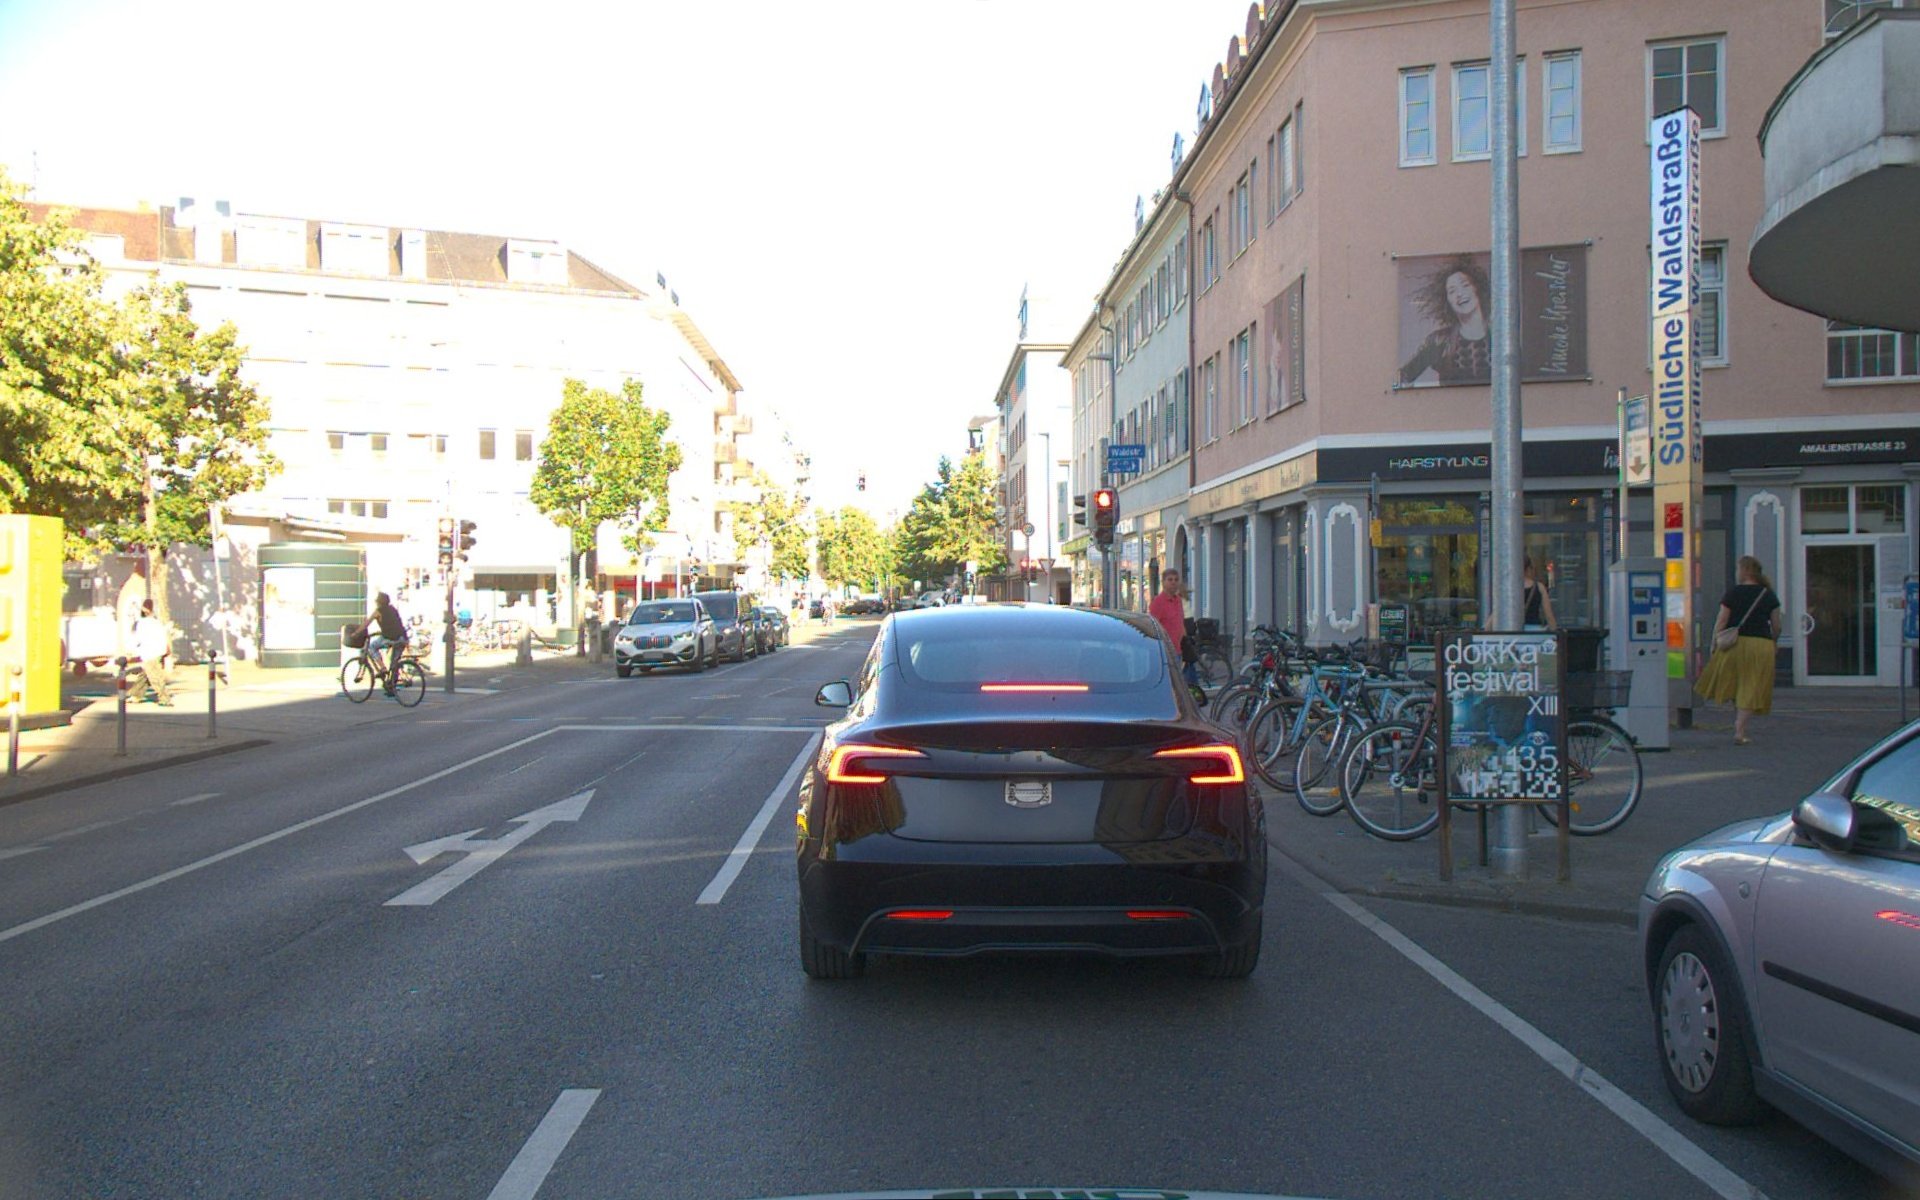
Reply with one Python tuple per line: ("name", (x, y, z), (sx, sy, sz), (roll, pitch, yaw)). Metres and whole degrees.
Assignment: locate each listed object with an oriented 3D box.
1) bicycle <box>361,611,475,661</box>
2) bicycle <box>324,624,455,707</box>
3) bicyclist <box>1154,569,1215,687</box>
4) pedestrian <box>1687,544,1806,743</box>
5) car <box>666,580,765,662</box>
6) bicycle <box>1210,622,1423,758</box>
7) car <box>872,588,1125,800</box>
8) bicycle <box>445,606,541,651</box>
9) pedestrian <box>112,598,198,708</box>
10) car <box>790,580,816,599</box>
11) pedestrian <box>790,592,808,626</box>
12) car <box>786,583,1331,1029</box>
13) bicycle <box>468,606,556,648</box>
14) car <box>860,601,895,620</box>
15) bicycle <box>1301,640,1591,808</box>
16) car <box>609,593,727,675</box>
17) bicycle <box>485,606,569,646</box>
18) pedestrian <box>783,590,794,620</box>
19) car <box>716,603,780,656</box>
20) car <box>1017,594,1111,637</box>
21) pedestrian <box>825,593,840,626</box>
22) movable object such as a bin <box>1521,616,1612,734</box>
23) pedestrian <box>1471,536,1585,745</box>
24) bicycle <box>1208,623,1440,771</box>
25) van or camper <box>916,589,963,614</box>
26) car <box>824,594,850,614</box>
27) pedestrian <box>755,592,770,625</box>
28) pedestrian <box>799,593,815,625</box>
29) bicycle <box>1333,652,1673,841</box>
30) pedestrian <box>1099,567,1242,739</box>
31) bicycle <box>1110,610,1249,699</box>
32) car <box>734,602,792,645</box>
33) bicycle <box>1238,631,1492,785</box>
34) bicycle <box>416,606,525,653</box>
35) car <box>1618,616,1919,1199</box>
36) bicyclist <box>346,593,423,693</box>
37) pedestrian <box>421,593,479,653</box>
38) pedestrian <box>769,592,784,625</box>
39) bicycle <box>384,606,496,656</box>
("bicycle", (-13.946, 0.925, 42.600), (2.607, 1.216, 0.942), (1, 0, -4))
("bicycle", (-8.855, 1.011, 25.647), (1.953, 1.244, 0.630), (0, -2, 21))
("bicyclist", (3.199, 0.390, 23.607), (0.808, 1.642, 0.580), (-2, 0, 6))
("pedestrian", (7.359, 0.400, 15.505), (0.706, 1.785, 0.788), (-2, -1, 5))
("car", (-6.227, 0.507, 42.579), (1.906, 1.981, 4.819), (0, 0, -1))
("bicycle", (3.167, 0.794, 14.791), (1.776, 1.172, 0.653), (0, 0, 0))
("car", (0.248, 0.688, 14.210), (1.812, 1.507, 4.450), (1, 0, -1))
("bicycle", (-14.006, 0.845, 49.657), (2.609, 1.281, 0.942), (1, 0, -4))
("pedestrian", (-11.700, 0.765, 24.065), (0.904, 1.570, 0.694), (1, -1, -6))
("car", (-17.019, -1.136, 179.420), (2.228, 2.049, 4.717), (1, 0, 0))
("pedestrian", (-9.198, 0.509, 94.437), (0.719, 1.900, 0.790), (1, -1, 28))
("car", (0.304, 0.702, 7.786), (1.812, 1.472, 4.450), (1, 0, -1))
("bicycle", (-14.058, 0.850, 51.931), (2.491, 1.273, 0.942), (1, 0, -4))
("car", (-8.041, 0.992, 160.886), (2.010, 1.819, 3.973), (0, 0, -26))
("bicycle", (3.255, 0.824, 11.178), (1.776, 1.078, 0.653), (0, 0, 0))
("car", (-6.319, 0.712, 36.251), (1.788, 1.592, 4.299), (-3, 0, -1))
("bicycle", (-14.224, 0.857, 54.353), (2.491, 1.273, 0.942), (1, 0, -4))
("pedestrian", (-10.765, 0.310, 103.729), (0.681, 1.900, 0.658), (1, -1, -6))
("car", (-6.332, 0.854, 49.706), (1.431, 1.455, 3.605), (-3, 0, -1))
("car", (4.715, 0.703, 74.756), (3.937, 1.900, 1.686), (0, 0, -22))
("pedestrian", (-7.409, 0.547, 96.215), (0.760, 1.900, 1.006), (1, -1, -11))
("movable object such as a bin", (6.045, 0.734, 16.514), (0.623, 1.122, 0.728), (-2, 0, 3))
("pedestrian", (5.365, 0.378, 15.662), (0.667, 1.882, 0.893), (-3, -1, 1))
("bicycle", (2.983, 0.785, 13.654), (1.776, 1.172, 0.653), (0, 0, 0))
("van or camper", (-2.069, 0.167, 167.534), (4.752, 2.481, 1.850), (0, 0, -1))
("car", (-12.345, 0.390, 166.276), (2.365, 2.004, 4.677), (0, 0, -1))
("pedestrian", (-11.537, 0.477, 96.738), (0.721, 1.900, 0.787), (1, -1, -17))
("pedestrian", (-9.112, 0.527, 98.462), (0.685, 1.900, 0.904), (1, -1, -20))
("bicycle", (3.284, 0.877, 10.106), (1.844, 1.062, 0.653), (-1, 0, 0))
("pedestrian", (2.240, 0.540, 17.562), (1.093, 1.750, 1.055), (1, -1, 42))
("bicycle", (3.119, 0.773, 23.620), (1.912, 1.178, 0.576), (-2, -1, 5))
("car", (-6.800, 0.796, 57.361), (1.660, 1.414, 3.914), (-1, 0, -3))
("bicycle", (3.054, 0.807, 12.582), (1.776, 1.121, 0.653), (0, 0, 0))
("bicycle", (-13.997, 0.830, 47.339), (2.818, 1.292, 0.942), (1, 0, -4))
("car", (2.927, 0.784, 3.552), (1.551, 1.451, 3.579), (1, 0, -1))
("bicyclist", (-8.931, 0.658, 25.684), (0.935, 1.510, 0.608), (1, -1, 21))
("pedestrian", (-14.296, 0.646, 46.403), (1.069, 1.639, 1.267), (1, 0, 11))
("pedestrian", (-10.783, 0.493, 97.265), (0.721, 1.900, 0.787), (1, -1, -17))
("bicycle", (-14.120, 0.843, 44.937), (2.725, 1.296, 0.932), (1, 0, -4))
